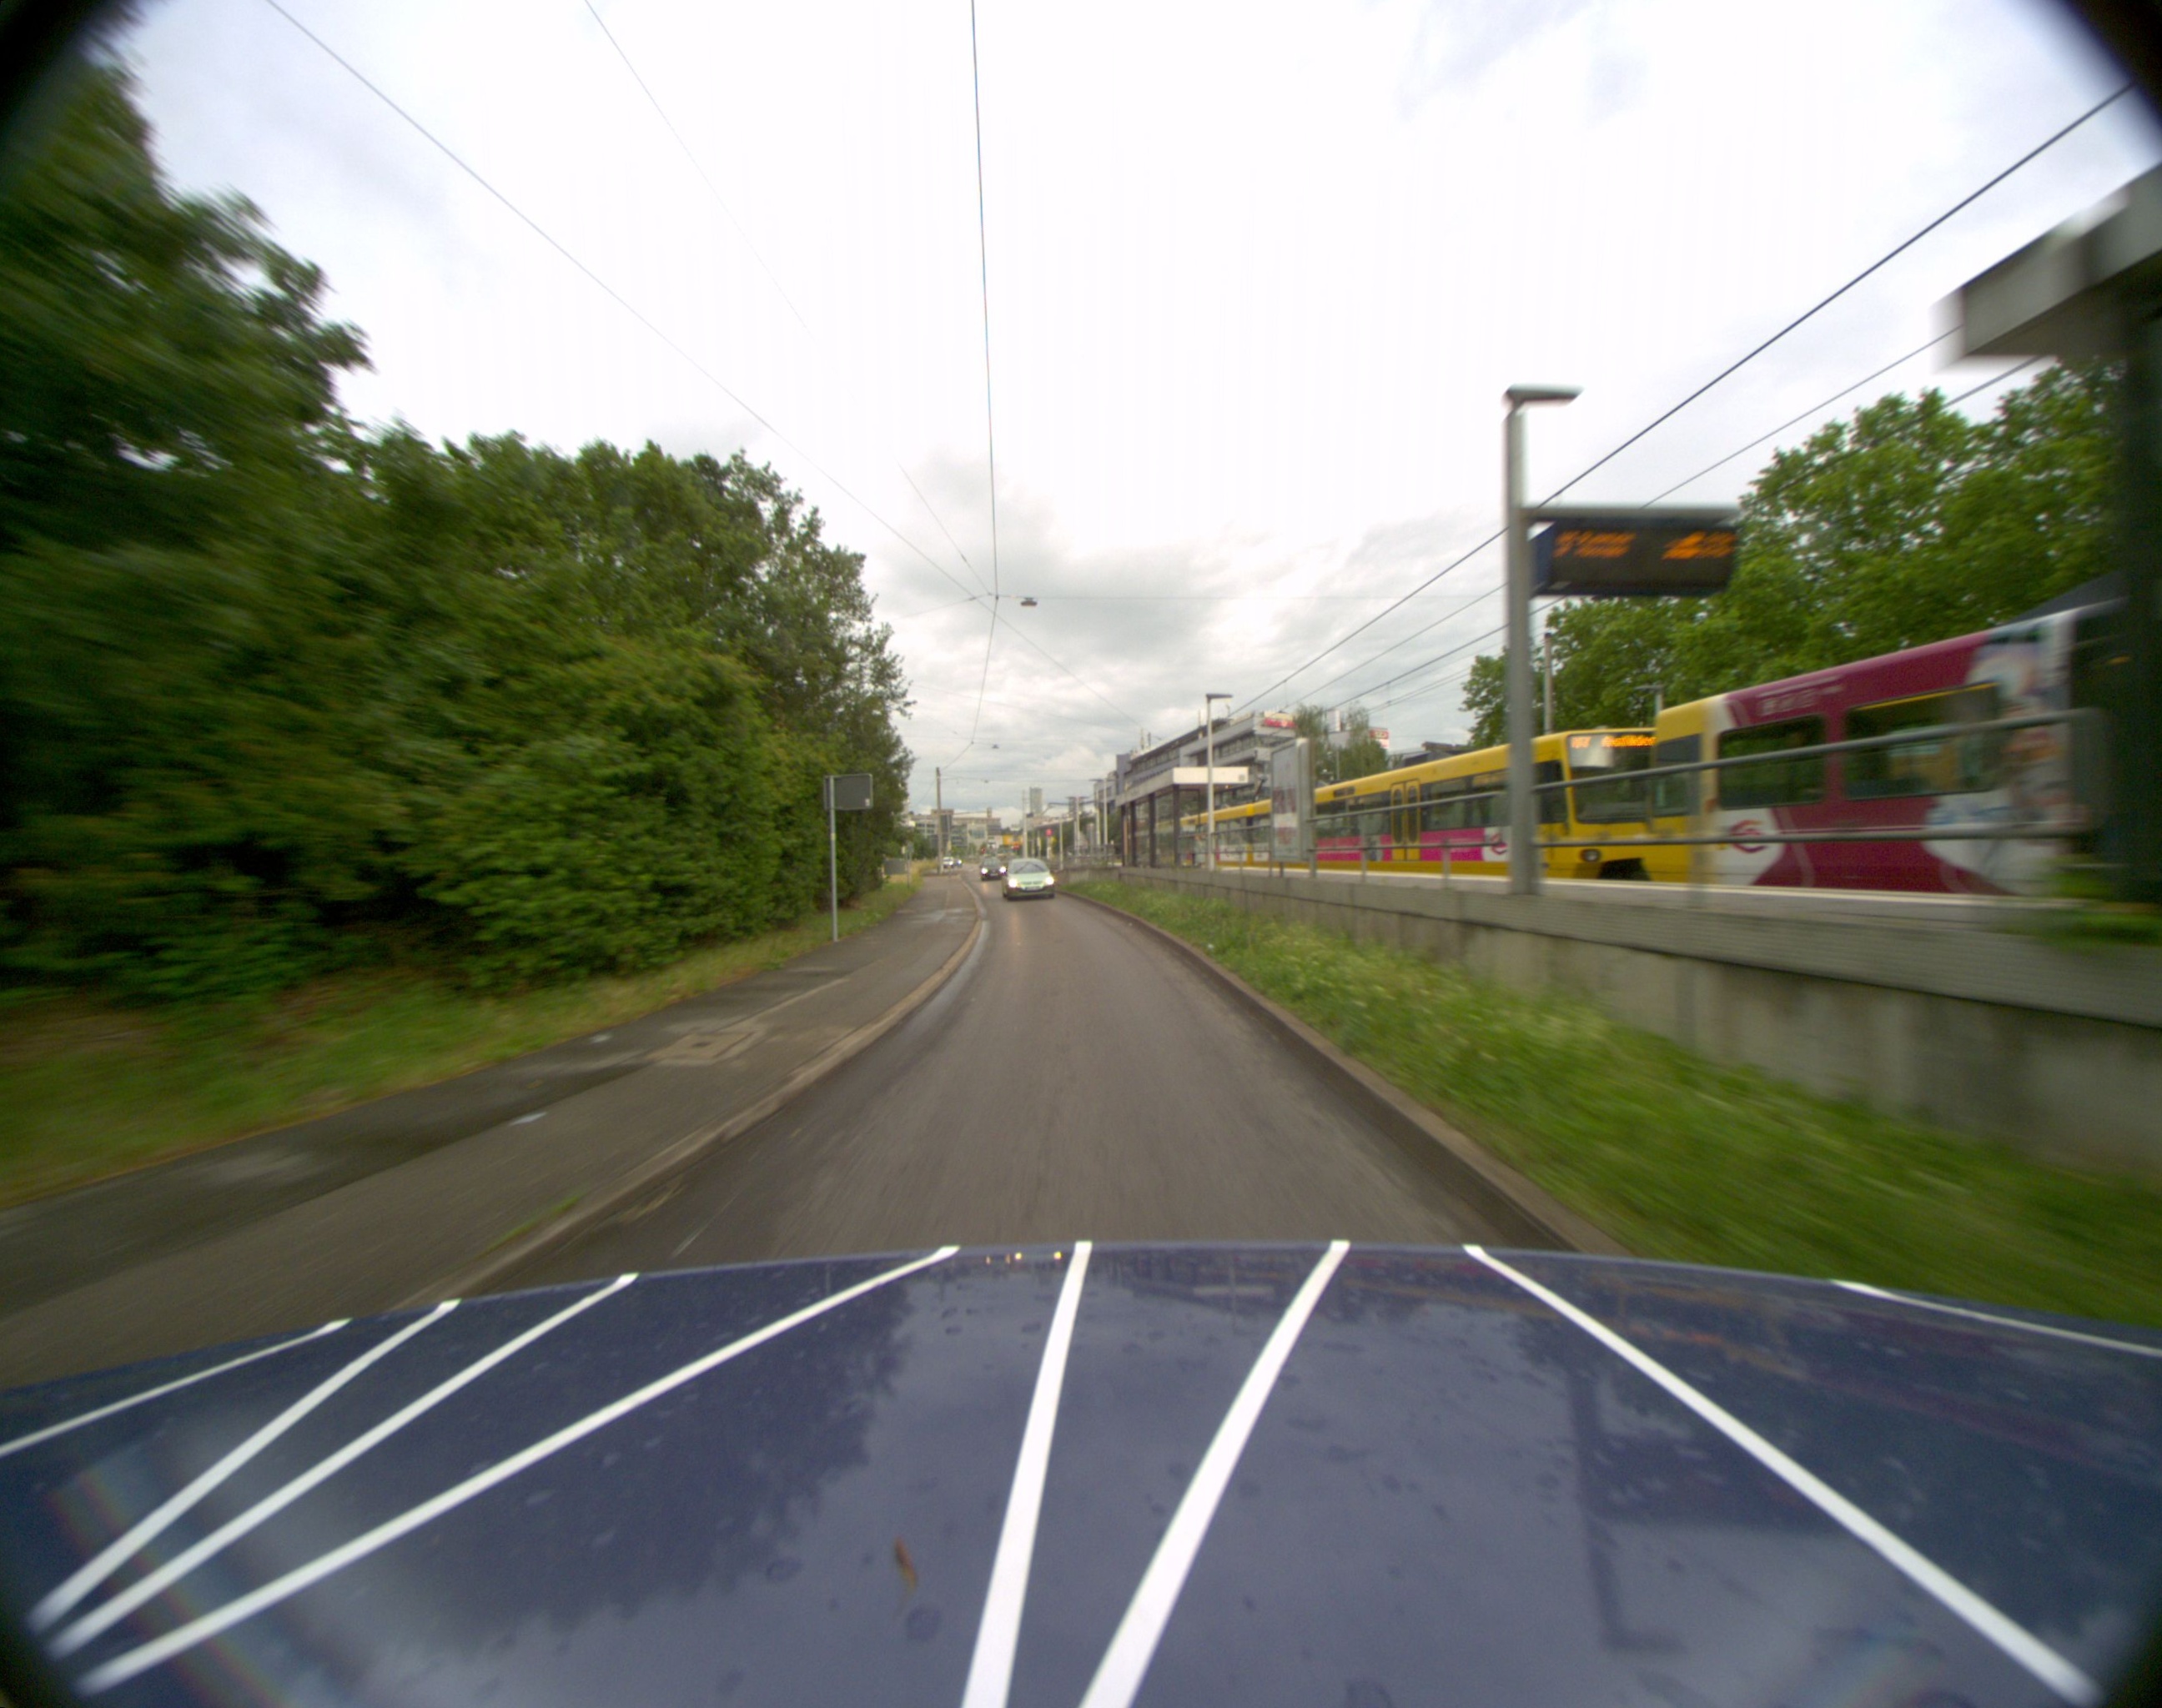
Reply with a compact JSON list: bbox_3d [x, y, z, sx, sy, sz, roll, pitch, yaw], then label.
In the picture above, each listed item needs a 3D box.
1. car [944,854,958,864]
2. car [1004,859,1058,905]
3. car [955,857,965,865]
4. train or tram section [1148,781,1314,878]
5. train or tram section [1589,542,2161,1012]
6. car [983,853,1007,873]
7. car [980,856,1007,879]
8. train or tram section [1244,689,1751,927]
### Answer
[{"bbox_3d":[-21.113,0.730,123.485,1.994,1.531,4.106,-3,0,-9],"label":"car"},{"bbox_3d":[-1.823,0.991,28.799,1.780,1.493,3.999,-1,1,-1],"label":"car"},{"bbox_3d":[-23.082,1.376,144.848,1.703,1.429,3.962,-2,0,-9],"label":"car"},{"bbox_3d":[7.275,-1.150,42.056,2.877,3.950,19.315,-4,1,-7],"label":"train or tram section"},{"bbox_3d":[10.651,-0.672,3.507,2.876,3.948,19.322,-4,1,-2],"label":"train or tram section"},{"bbox_3d":[-7.815,0.825,69.282,1.999,1.563,3.997,-4,1,-5],"label":"car"},{"bbox_3d":[-6.180,0.913,53.685,1.781,1.493,3.998,-2,0,-6],"label":"car"},{"bbox_3d":[9.357,-0.940,22.787,2.876,3.931,19.318,-4,1,-5],"label":"train or tram section"}]
